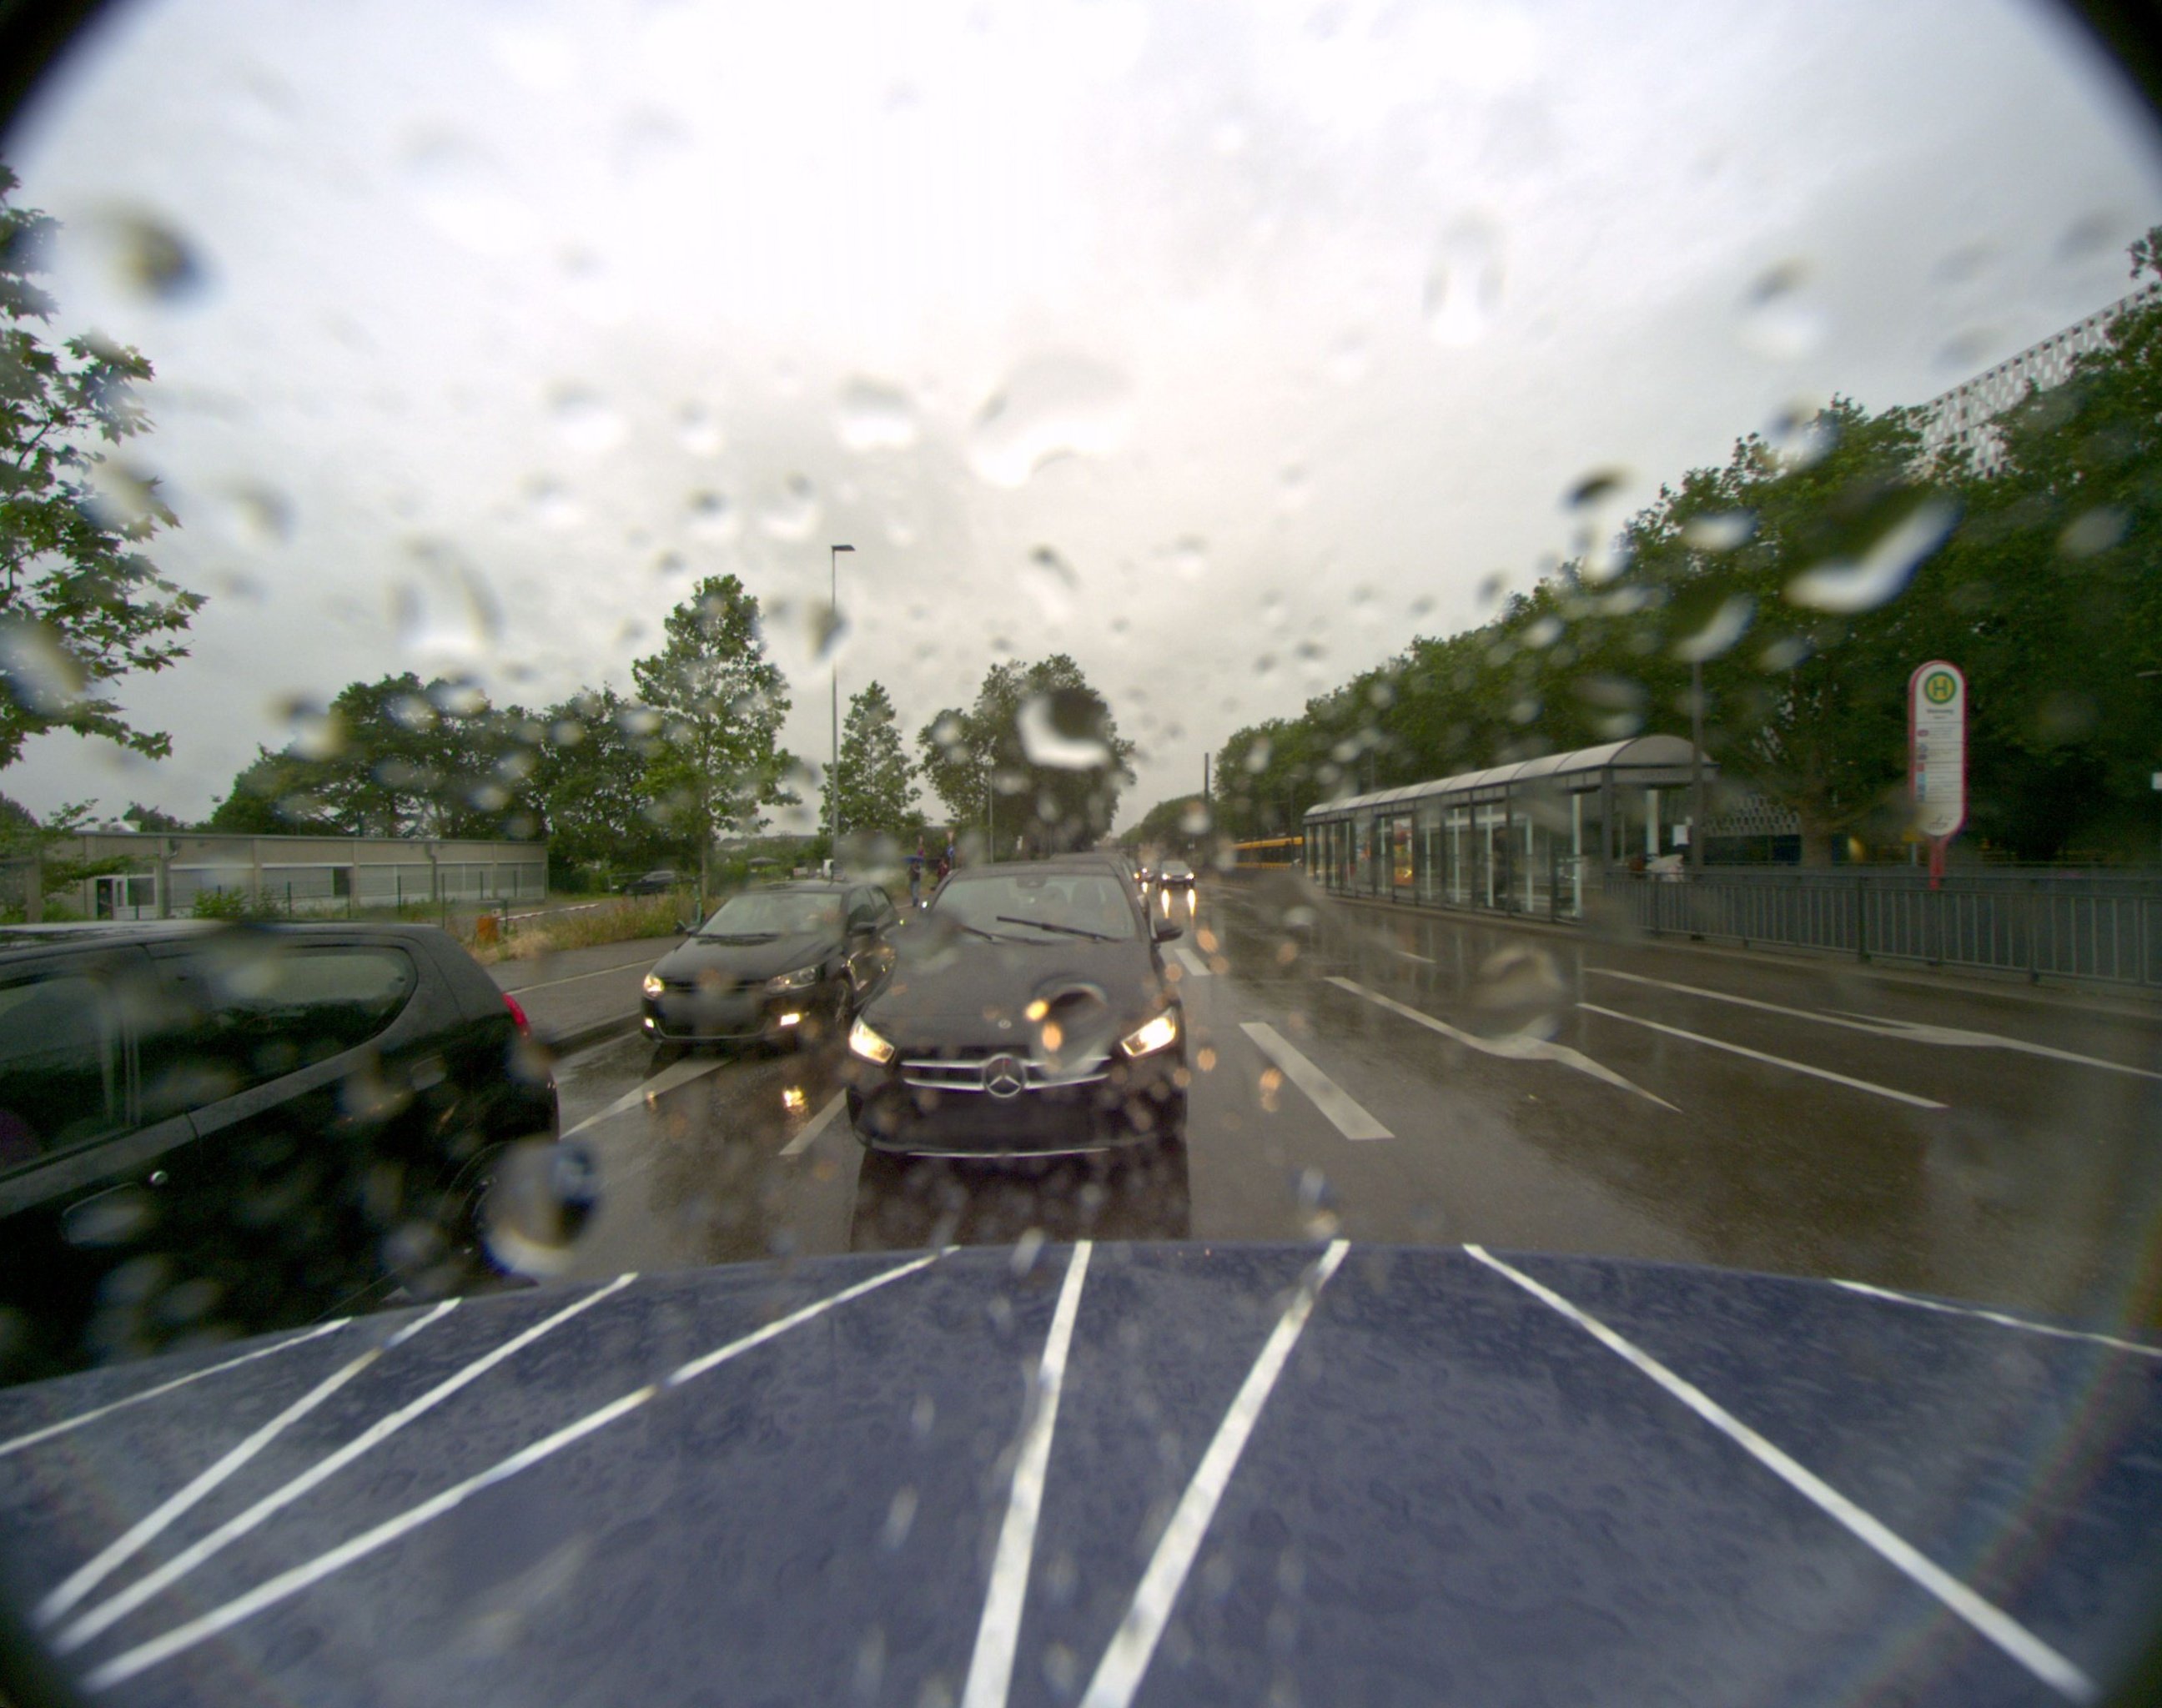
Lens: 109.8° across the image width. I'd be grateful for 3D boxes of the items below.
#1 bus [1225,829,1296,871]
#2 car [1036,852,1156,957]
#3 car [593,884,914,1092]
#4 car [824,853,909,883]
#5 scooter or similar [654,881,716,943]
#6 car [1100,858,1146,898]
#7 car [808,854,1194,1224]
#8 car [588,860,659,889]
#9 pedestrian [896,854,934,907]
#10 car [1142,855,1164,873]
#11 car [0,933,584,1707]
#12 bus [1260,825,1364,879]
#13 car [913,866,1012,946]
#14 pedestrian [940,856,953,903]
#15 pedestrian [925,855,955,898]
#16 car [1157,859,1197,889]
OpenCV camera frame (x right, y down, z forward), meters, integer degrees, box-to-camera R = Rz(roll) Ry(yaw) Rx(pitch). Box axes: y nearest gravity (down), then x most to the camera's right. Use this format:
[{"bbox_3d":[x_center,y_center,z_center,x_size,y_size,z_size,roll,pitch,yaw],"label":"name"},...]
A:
[{"bbox_3d":[16.319,-0.423,70.463,2.938,3.310,15.061,-2,1,0],"label":"bus"},{"bbox_3d":[0.206,0.715,12.513,1.633,1.420,3.624,-2,0,0],"label":"car"},{"bbox_3d":[-2.918,1.105,7.674,1.633,1.420,3.624,-2,0,0],"label":"car"},{"bbox_3d":[-13.506,0.885,48.038,4.759,1.640,1.999,-2,1,-2],"label":"car"},{"bbox_3d":[-8.207,1.176,15.812,0.381,1.123,1.777,0,1,-1],"label":"scooter or similar"},{"bbox_3d":[1.878,1.033,34.923,1.794,1.597,3.999,-2,1,0],"label":"car"},{"bbox_3d":[-0.333,0.844,5.527,1.690,1.578,4.163,-2,1,1],"label":"car"},{"bbox_3d":[-33.961,1.509,56.523,3.996,2.002,2.000,-2,1,2],"label":"car"},{"bbox_3d":[-5.614,0.889,25.735,1.082,1.746,0.969,0,1,0],"label":"pedestrian"},{"bbox_3d":[6.666,0.881,70.571,1.775,1.492,4.597,-2,1,2],"label":"car"},{"bbox_3d":[-2.979,1.072,1.451,1.633,1.420,3.624,-2,0,0],"label":"car"},{"bbox_3d":[16.314,-0.227,55.368,2.938,3.310,15.061,-2,1,0],"label":"bus"},{"bbox_3d":[-2.758,1.166,18.483,1.698,1.565,3.813,-2,1,1],"label":"car"},{"bbox_3d":[-4.867,0.918,27.553,0.401,1.652,0.441,1,1,0],"label":"pedestrian"},{"bbox_3d":[-5.716,0.887,30.829,1.025,1.698,0.891,1,1,0],"label":"pedestrian"},{"bbox_3d":[5.206,1.053,41.826,1.766,1.390,4.645,-2,0,2],"label":"car"}]
